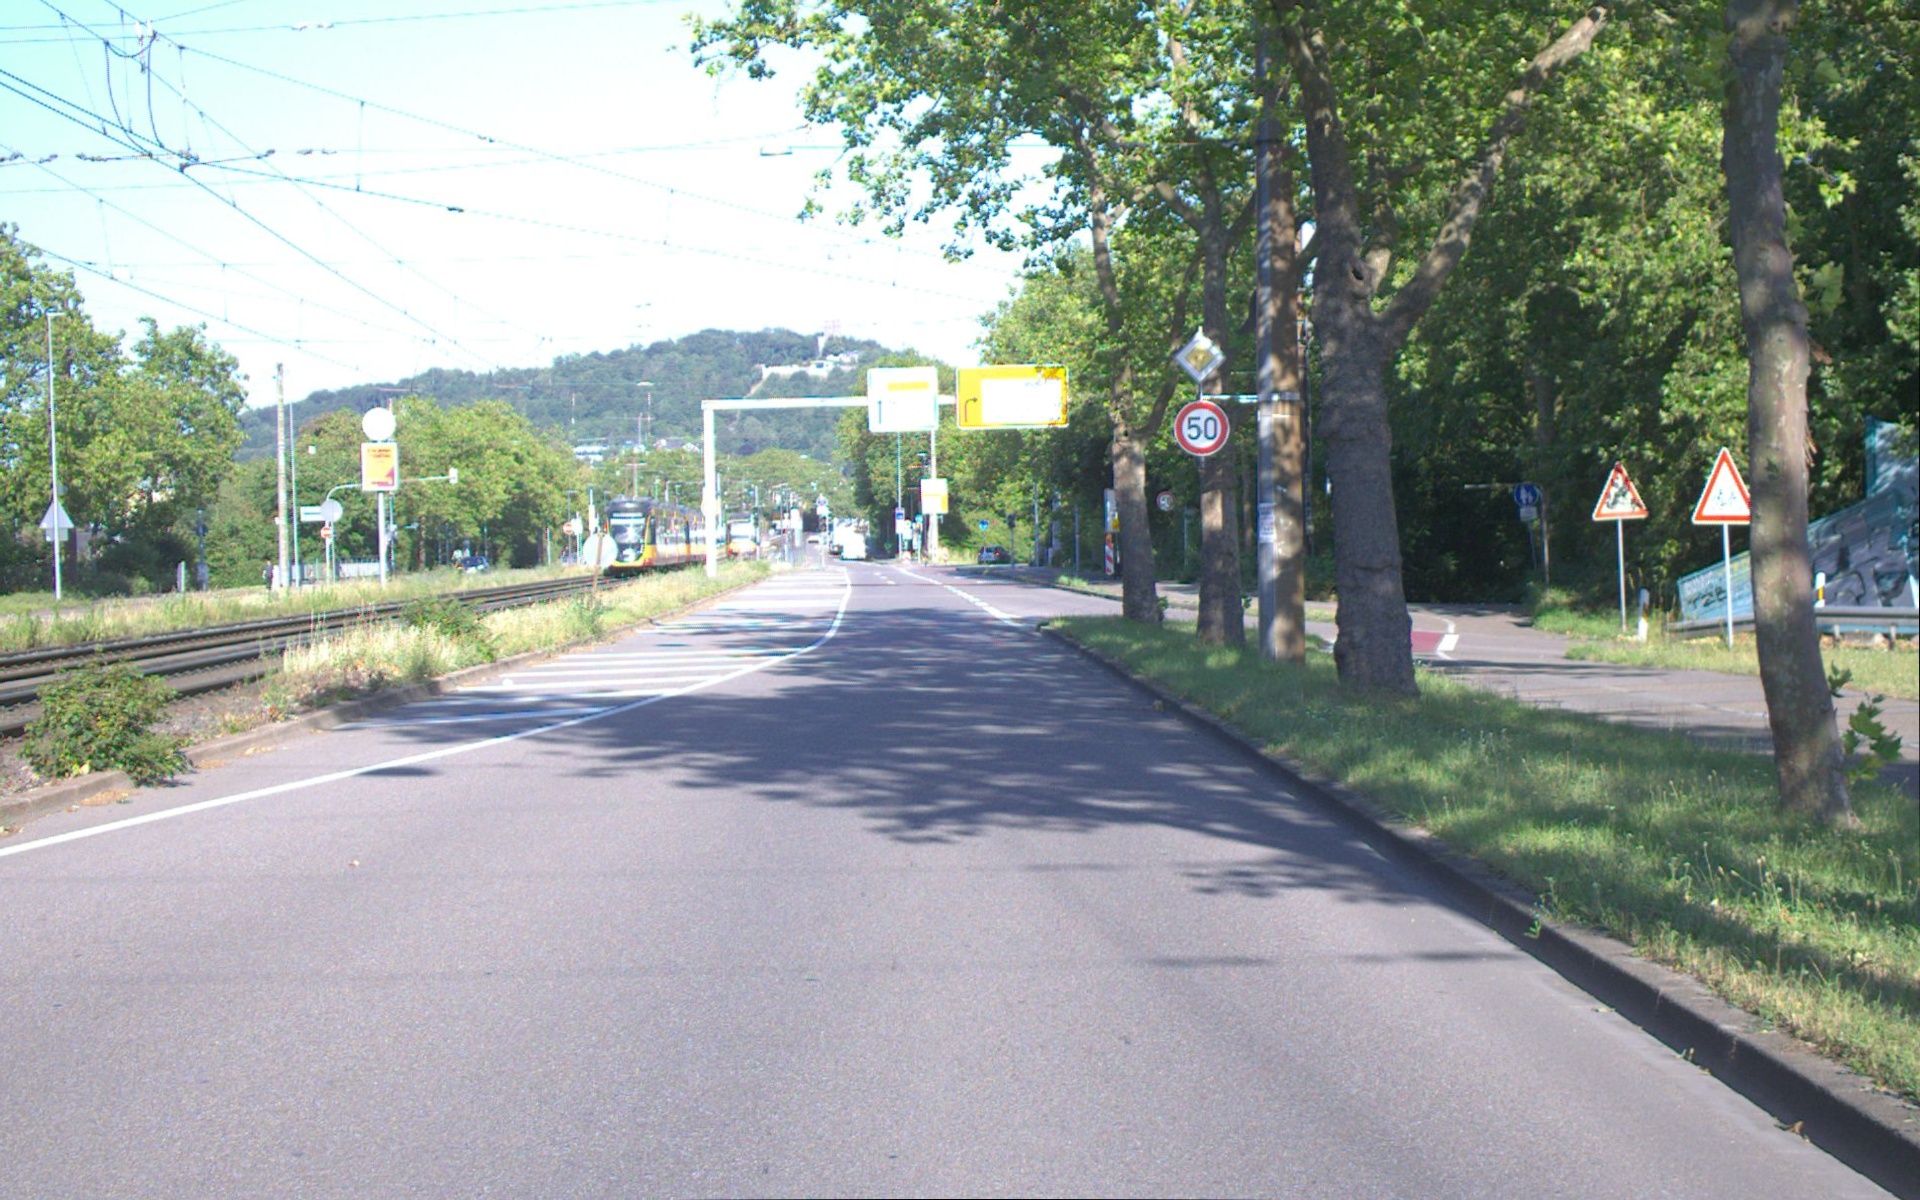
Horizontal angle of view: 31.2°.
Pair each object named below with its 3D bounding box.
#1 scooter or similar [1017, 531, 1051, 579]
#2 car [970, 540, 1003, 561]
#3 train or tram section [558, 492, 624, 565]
[{"bbox_3d":[4.158,-2.550,193.930,1.681,2.706,4.869,0,1,-1],"label":"scooter or similar"},{"bbox_3d":[1.905,-3.569,248.031,2.086,1.560,3.955,0,1,4],"label":"car"},{"bbox_3d":[-20.259,-3.881,189.331,2.804,3.889,12.334,0,1,-2],"label":"train or tram section"}]
